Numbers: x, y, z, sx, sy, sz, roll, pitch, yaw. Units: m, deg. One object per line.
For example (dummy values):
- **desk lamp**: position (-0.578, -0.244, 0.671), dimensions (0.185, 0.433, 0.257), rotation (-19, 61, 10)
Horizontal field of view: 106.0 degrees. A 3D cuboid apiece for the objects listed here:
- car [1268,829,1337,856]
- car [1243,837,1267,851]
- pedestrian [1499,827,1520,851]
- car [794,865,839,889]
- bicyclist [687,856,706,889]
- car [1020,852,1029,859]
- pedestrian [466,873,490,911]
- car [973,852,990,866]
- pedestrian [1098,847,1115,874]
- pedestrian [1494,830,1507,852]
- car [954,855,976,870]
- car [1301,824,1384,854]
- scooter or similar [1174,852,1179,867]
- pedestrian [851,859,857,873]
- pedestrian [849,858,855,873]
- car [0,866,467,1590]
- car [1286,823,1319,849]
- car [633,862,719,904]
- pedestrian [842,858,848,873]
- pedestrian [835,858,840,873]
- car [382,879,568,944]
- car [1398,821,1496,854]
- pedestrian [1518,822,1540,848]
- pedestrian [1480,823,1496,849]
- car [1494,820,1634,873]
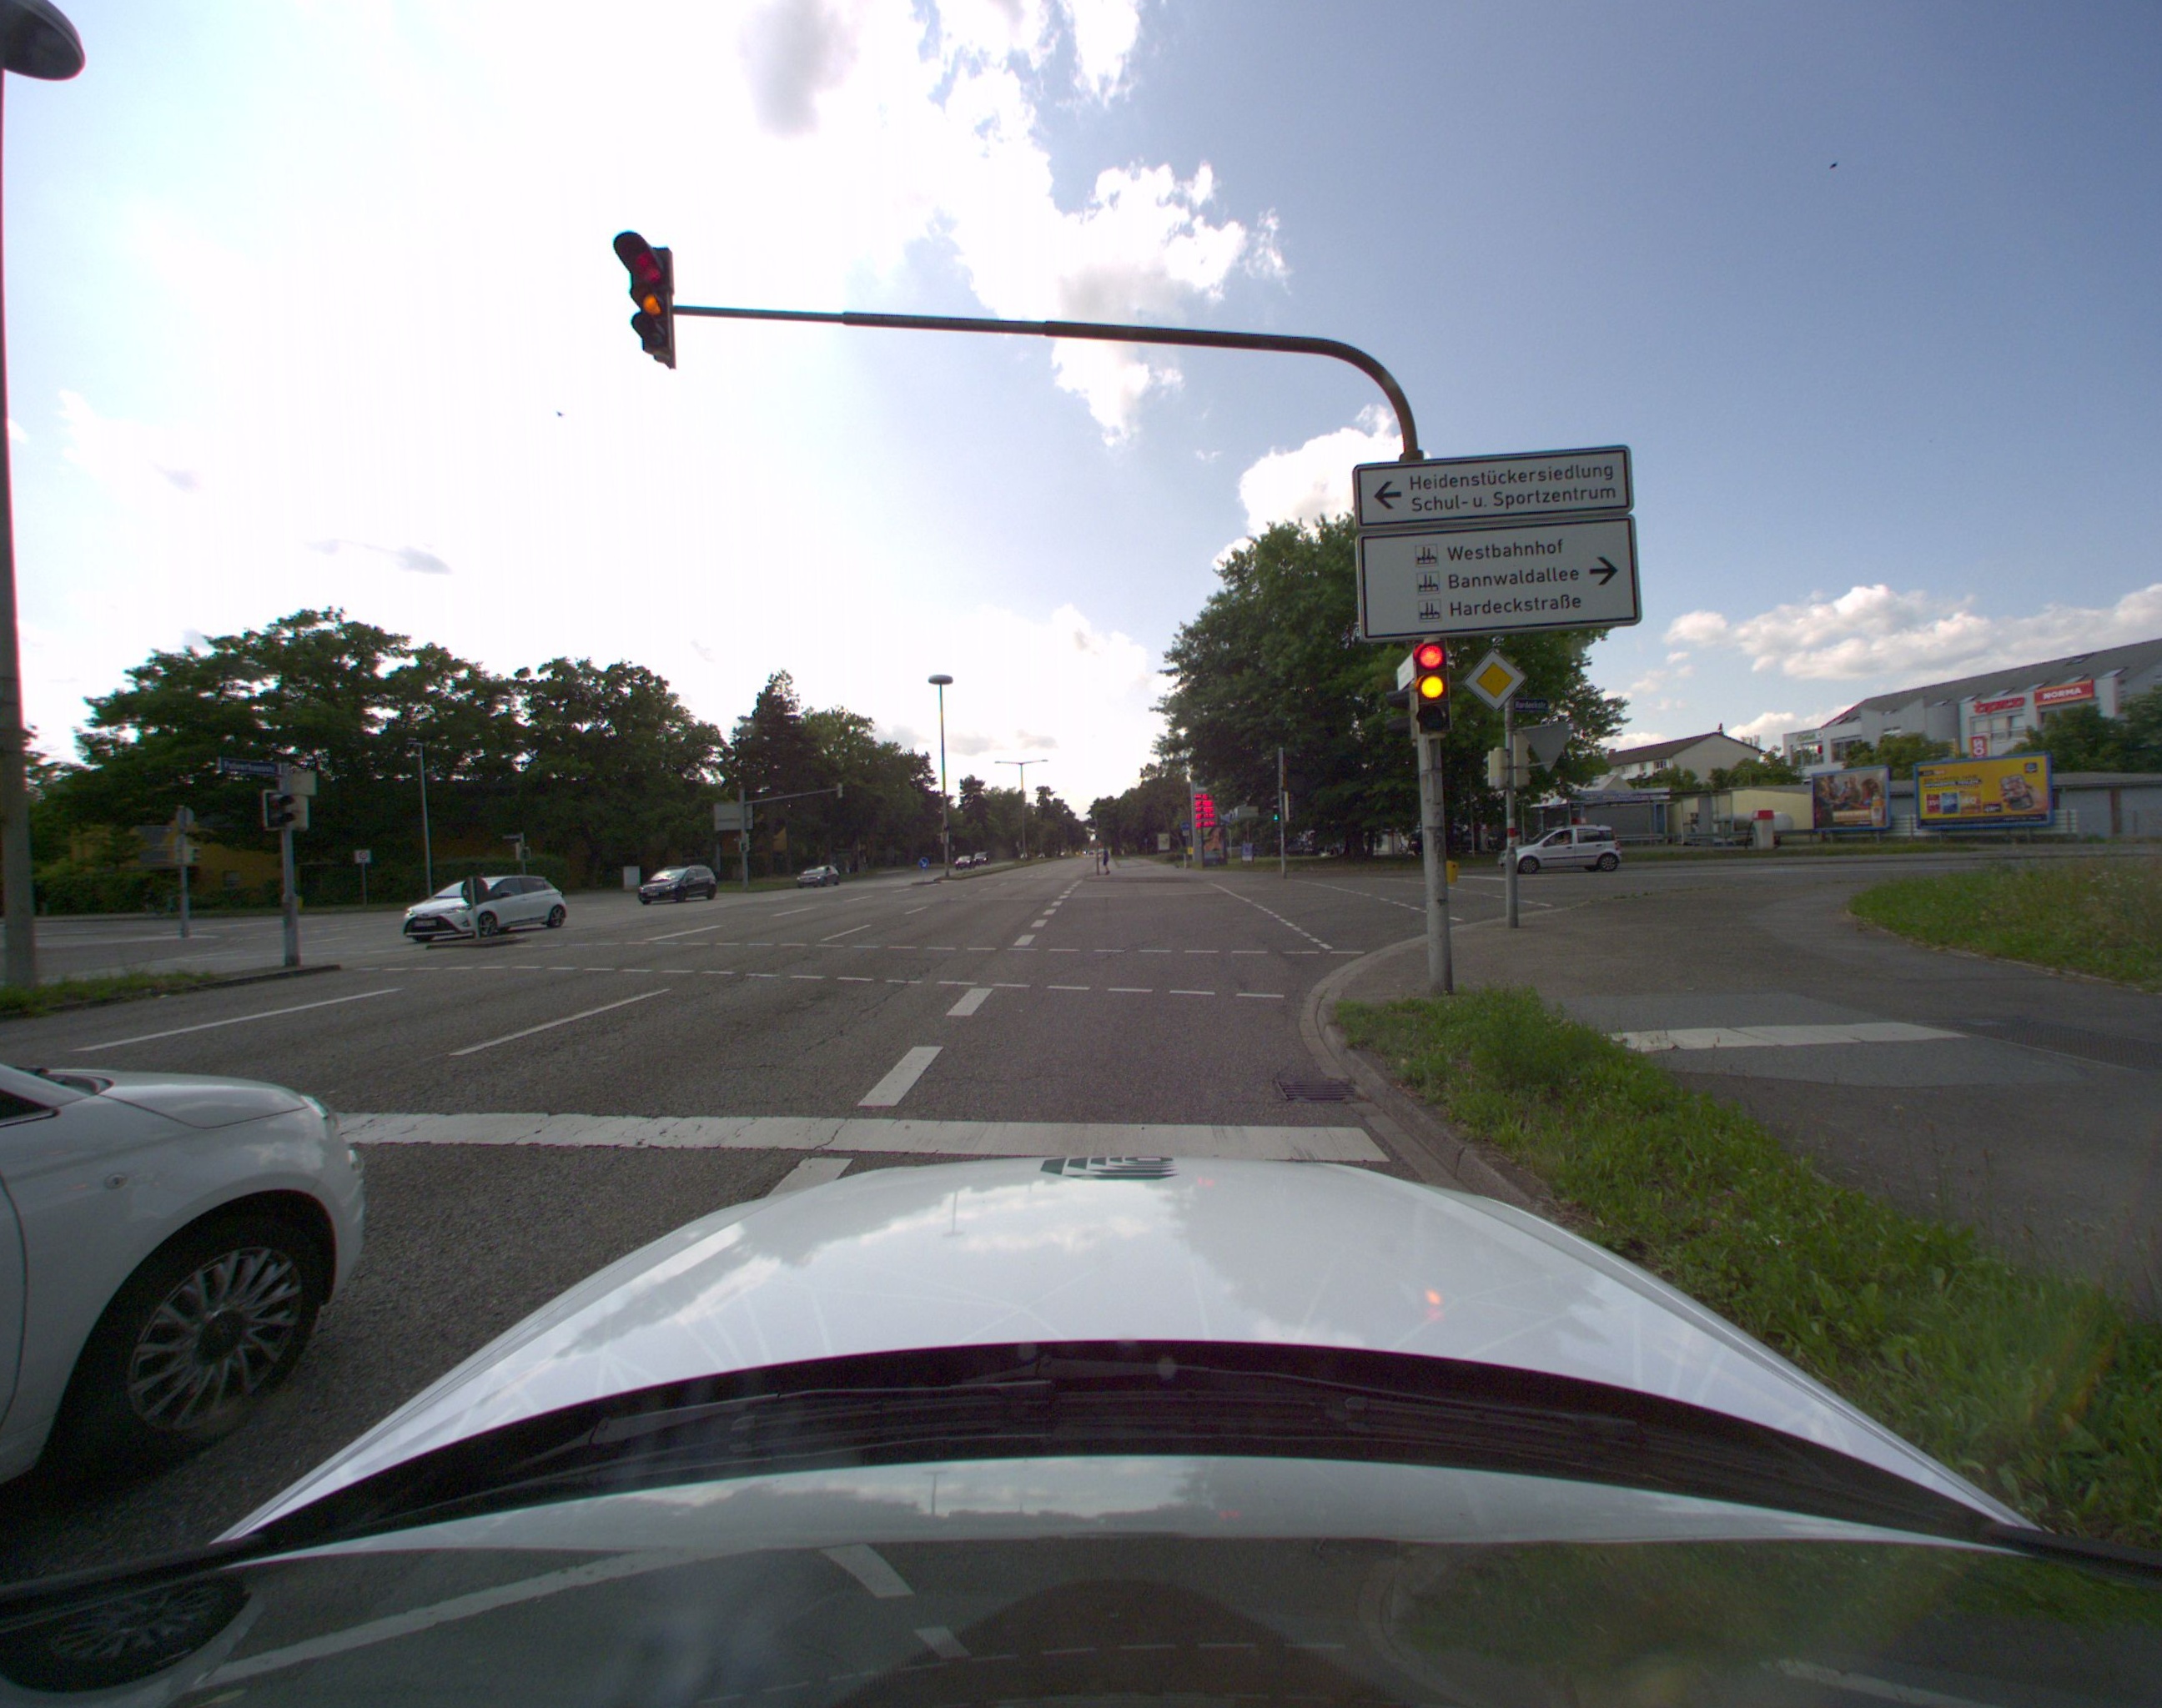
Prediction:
- **car**: position (18.733, -0.965, 68.896), dimensions (5.167, 2.004, 2.152), rotation (-3, 0, -2)
- **car**: position (18.729, -1.061, 87.613), dimensions (1.744, 1.454, 3.741), rotation (-3, 0, 0)
- **pedestrian**: position (21.863, -0.741, 41.528), dimensions (0.649, 1.190, 0.757), rotation (0, -1, -42)
- **car**: position (-17.445, 1.501, 53.837), dimensions (1.589, 1.372, 4.081), rotation (-3, 0, 0)
- **bicyclist**: position (-24.691, 1.181, 52.346), dimensions (0.749, 2.013, 0.831), rotation (-3, 0, -1)
- **car**: position (-13.390, 0.336, 193.564), dimensions (1.854, 1.705, 4.456), rotation (-3, 0, 1)
- **pedestrian**: position (-28.217, 1.781, 38.101), dimensions (0.696, 1.742, 0.697), rotation (-3, 0, 41)
- **car**: position (-14.824, 0.762, 122.013), dimensions (1.759, 1.857, 4.819), rotation (-3, 0, 2)
- **pedestrian**: position (1.498, 0.359, 47.427), dimensions (0.726, 1.531, 0.756), rotation (-3, 0, -15)
- **pedestrian**: position (30.898, -0.968, 60.028), dimensions (0.650, 1.544, 0.625), rotation (-3, 0, 8)
- **car**: position (-13.093, 0.948, 92.166), dimensions (1.766, 1.465, 4.454), rotation (-3, 0, -1)
- **car**: position (18.548, -1.059, 57.960), dimensions (5.179, 1.826, 2.147), rotation (-3, 0, -9)
- **scooter or similar**: position (6.089, 0.337, 51.923), dimensions (0.220, 0.979, 1.273), rotation (-3, 0, 2)
- **pedestrian**: position (-23.738, 1.247, 85.002), dimensions (0.570, 1.496, 0.419), rotation (0, -1, -14)
- **pedestrian**: position (-24.228, 1.211, 86.153), dimensions (0.570, 1.496, 0.419), rotation (0, -1, -14)
- **car**: position (-3.048, 0.782, 1.168), dimensions (1.564, 1.497, 3.541), rotation (0, -1, 2)
- **car**: position (22.927, -1.820, 84.509), dimensions (1.744, 2.453, 5.750), rotation (-3, 0, 0)
- **car**: position (-18.447, 1.282, 37.328), dimensions (1.664, 1.742, 4.312), rotation (-2, -1, 2)
- **pedestrian**: position (-24.740, 1.210, 85.534), dimensions (0.570, 1.496, 0.419), rotation (0, -1, -14)
- **pedestrian**: position (-25.523, 1.215, 85.357), dimensions (0.570, 1.496, 0.419), rotation (0, -1, -14)
- **car**: position (-15.063, 1.371, 20.518), dimensions (1.746, 1.308, 3.696), rotation (-4, -1, 2)
- **car**: position (20.461, -0.926, 45.631), dimensions (4.548, 1.596, 2.147), rotation (-3, 0, -9)
- **pedestrian**: position (22.502, -0.944, 40.917), dimensions (0.649, 1.255, 0.757), rotation (0, -1, -42)
- **pedestrian**: position (23.316, -1.037, 46.691), dimensions (0.559, 1.495, 0.619), rotation (0, -1, -6)
- **car**: position (15.588, -0.243, 26.463), dimensions (3.571, 1.517, 1.565), rotation (-2, 0, 14)
